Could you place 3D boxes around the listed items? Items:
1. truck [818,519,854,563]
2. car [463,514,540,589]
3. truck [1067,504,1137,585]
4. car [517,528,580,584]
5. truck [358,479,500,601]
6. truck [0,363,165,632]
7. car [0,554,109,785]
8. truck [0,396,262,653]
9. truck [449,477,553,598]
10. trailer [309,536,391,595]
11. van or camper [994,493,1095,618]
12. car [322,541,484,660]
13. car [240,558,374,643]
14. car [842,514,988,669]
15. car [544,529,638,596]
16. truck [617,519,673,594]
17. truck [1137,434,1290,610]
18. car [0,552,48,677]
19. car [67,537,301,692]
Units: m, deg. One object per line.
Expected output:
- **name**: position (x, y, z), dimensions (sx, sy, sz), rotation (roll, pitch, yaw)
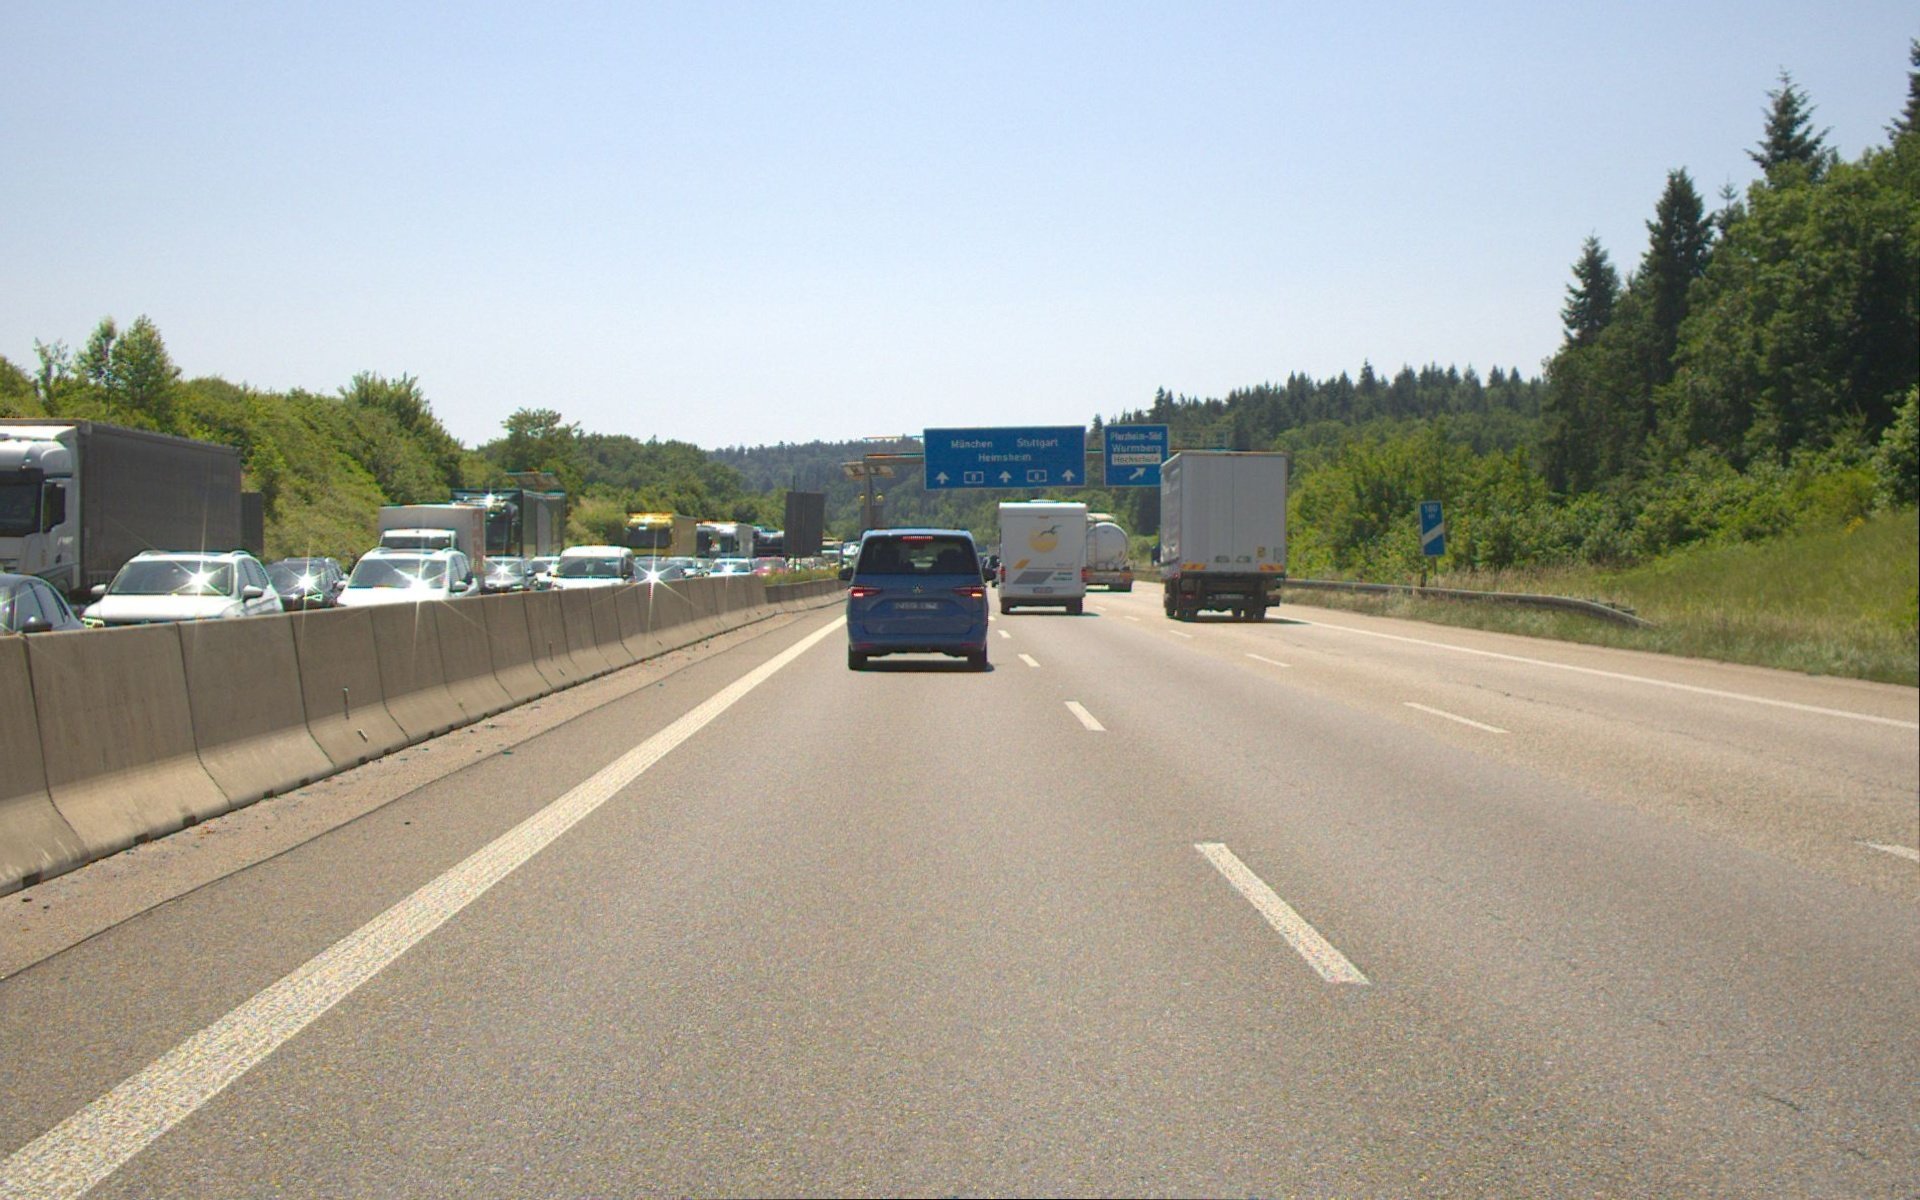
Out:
- **truck**: position (-8.265, -3.924, 229.843), dimensions (2.120, 2.832, 6.212), rotation (1, 0, 1)
- **car**: position (-12.646, -1.314, 95.023), dimensions (1.623, 2.007, 4.000), rotation (1, 0, -1)
- **truck**: position (6.544, -2.609, 159.425), dimensions (2.928, 3.563, 8.526), rotation (-1, 1, 1)
- **car**: position (-13.130, -1.381, 109.895), dimensions (1.571, 1.725, 3.885), rotation (1, 0, -1)
- **truck**: position (-12.965, -1.421, 84.421), dimensions (2.568, 2.835, 6.753), rotation (1, 0, -1)
- **truck**: position (-16.896, -1.756, 62.026), dimensions (2.942, 4.500, 8.605), rotation (1, 0, 1)
- **car**: position (-8.249, 0.514, 27.321), dimensions (1.827, 1.758, 4.991), rotation (1, 0, -1)
- **truck**: position (-16.802, -1.379, 67.844), dimensions (2.995, 4.527, 13.924), rotation (1, 0, 1)
- **truck**: position (-16.345, -2.200, 122.693), dimensions (2.819, 4.189, 5.629), rotation (1, 0, 1)
- **trailer**: position (-16.810, -0.933, 94.824), dimensions (1.694, 1.582, 3.222), rotation (1, 0, 0)
- **van or camper**: position (2.264, -1.150, 94.680), dimensions (2.603, 3.068, 7.181), rotation (1, -2, 0)
- **car**: position (-8.732, 0.000, 54.253), dimensions (1.827, 1.758, 4.991), rotation (1, 0, -1)
- **car**: position (-12.653, -0.001, 66.882), dimensions (1.827, 1.559, 4.524), rotation (1, 0, -1)
- **car**: position (-0.624, -0.162, 47.213), dimensions (1.909, 2.006, 4.001), rotation (0, 2, -1)
- **car**: position (-8.978, -0.894, 83.942), dimensions (1.827, 1.559, 5.111), rotation (1, 0, -1)
- **truck**: position (-17.470, -2.397, 190.880), dimensions (2.602, 4.050, 6.133), rotation (1, 0, -1)
- **truck**: position (6.228, -1.853, 86.022), dimensions (2.783, 4.114, 9.740), rotation (1, 0, -2)
- **car**: position (-12.879, 0.166, 42.983), dimensions (1.827, 1.559, 4.524), rotation (1, 0, -1)
- **car**: position (-9.444, 0.158, 42.216), dimensions (1.827, 1.758, 4.991), rotation (1, 0, -1)
